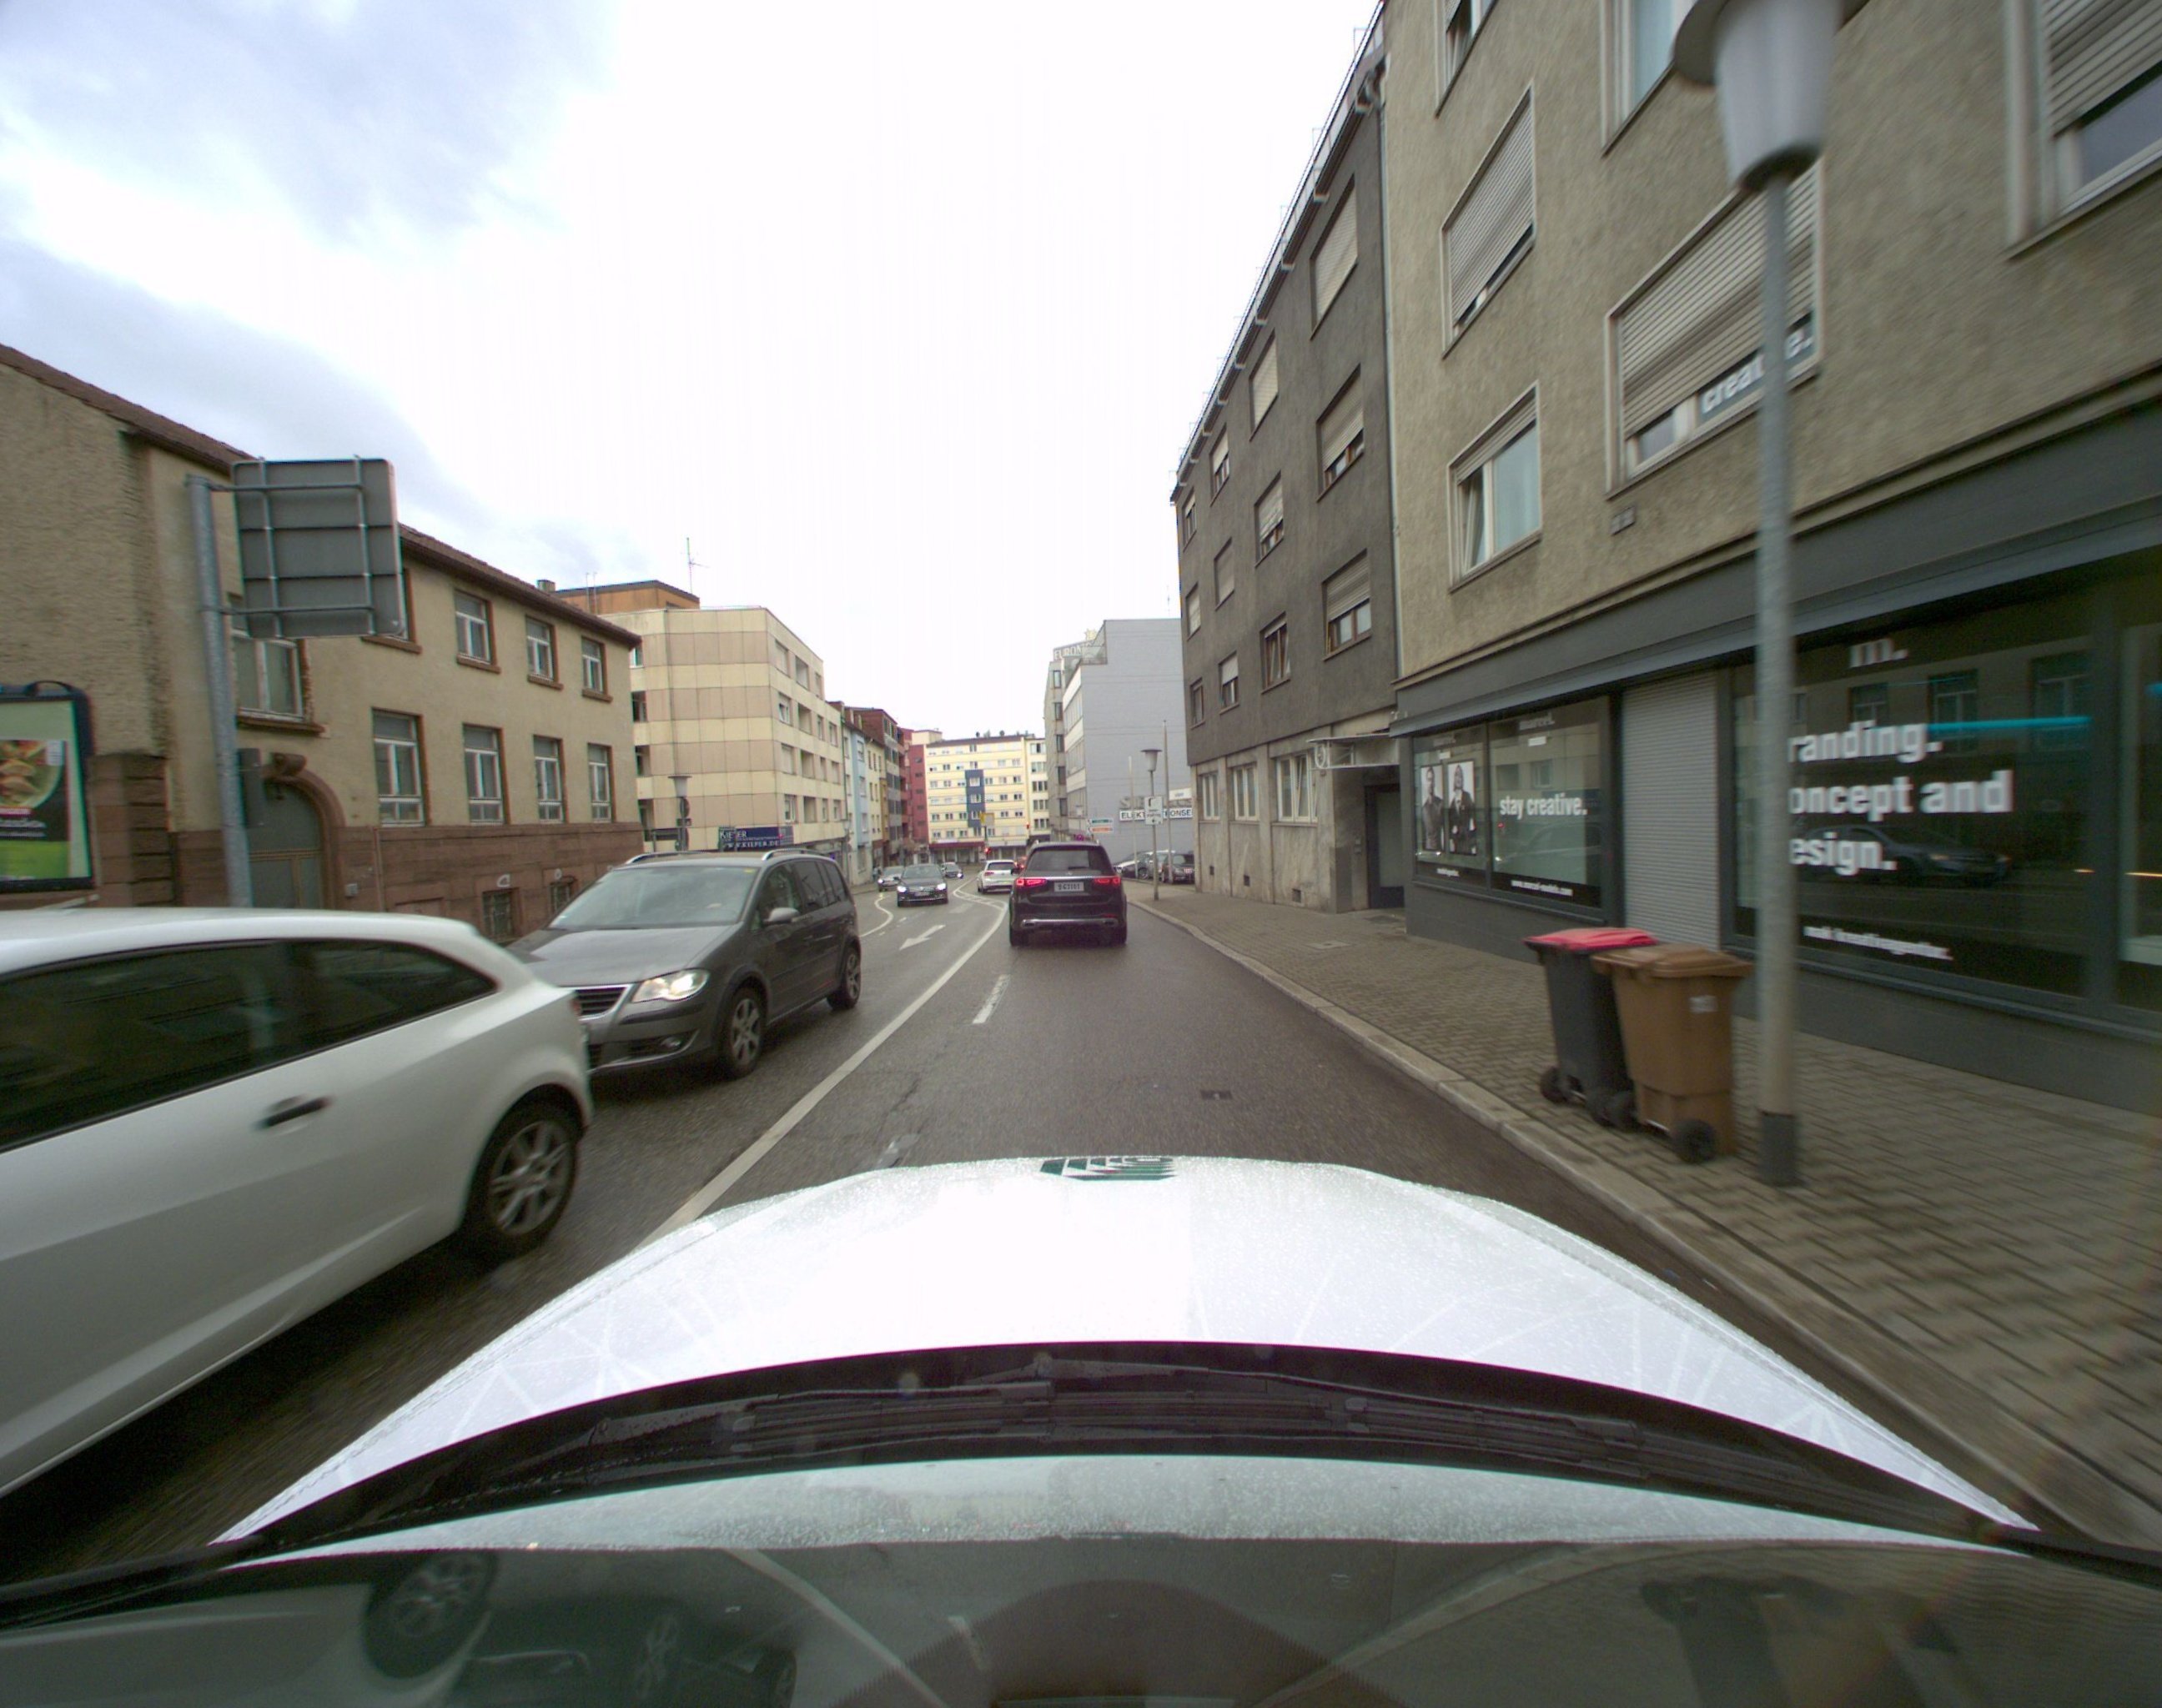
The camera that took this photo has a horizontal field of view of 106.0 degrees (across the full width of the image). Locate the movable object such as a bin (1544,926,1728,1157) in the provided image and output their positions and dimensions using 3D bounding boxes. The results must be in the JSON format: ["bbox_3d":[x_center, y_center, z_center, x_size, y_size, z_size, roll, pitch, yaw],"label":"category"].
[{"bbox_3d":[2.630,0.869,3.909,0.522,0.950,0.538,-2,4,3],"label":"movable object such as a bin"}]

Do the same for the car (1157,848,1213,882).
[{"bbox_3d":[4.893,0.507,38.940,1.793,1.477,4.479,-1,0,-4],"label":"car"}]

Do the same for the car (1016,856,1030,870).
[{"bbox_3d":[-6.638,1.018,93.438,1.519,1.548,3.103,-2,1,-3],"label":"car"}]

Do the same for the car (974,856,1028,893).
[{"bbox_3d":[-3.624,0.891,36.405,1.832,1.461,4.360,-3,0,-13],"label":"car"}]

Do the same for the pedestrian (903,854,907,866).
[{"bbox_3d":[-21.222,0.711,98.091,0.317,1.474,0.338,-2,4,-1],"label":"pedestrian"}]

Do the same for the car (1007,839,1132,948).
[{"bbox_3d":[-0.316,0.650,15.584,2.016,1.739,4.741,-1,0,-3],"label":"car"}]

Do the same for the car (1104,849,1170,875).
[{"bbox_3d":[3.702,0.506,53.715,4.006,1.597,1.784,-1,-2,-25],"label":"car"}]

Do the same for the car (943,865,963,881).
[{"bbox_3d":[-11.733,1.703,74.540,1.715,1.317,4.128,-3,0,-11],"label":"car"}]

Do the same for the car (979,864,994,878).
[{"bbox_3d":[-9.633,1.764,83.149,1.282,1.124,2.786,-2,4,-2],"label":"car"}]

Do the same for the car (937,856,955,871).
[{"bbox_3d":[-17.427,1.197,105.460,1.868,1.753,4.389,-5,0,-7],"label":"car"}]

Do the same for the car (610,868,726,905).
[{"bbox_3d":[-18.805,1.475,37.148,4.312,1.512,1.901,-1,-1,5],"label":"car"}]

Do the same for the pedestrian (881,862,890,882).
[{"bbox_3d":[-17.268,1.585,71.965,0.671,1.652,0.604,-2,4,-9],"label":"pedestrian"}]

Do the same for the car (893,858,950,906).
[{"bbox_3d":[-5.785,0.983,29.962,1.722,1.516,4.357,-4,-1,-8],"label":"car"}]

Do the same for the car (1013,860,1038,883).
[{"bbox_3d":[-4.002,1.220,58.118,1.521,1.548,3.099,-2,1,-8],"label":"car"}]

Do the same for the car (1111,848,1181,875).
[{"bbox_3d":[4.091,0.484,51.136,4.006,1.597,1.784,-1,-2,-25],"label":"car"}]

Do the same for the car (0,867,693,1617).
[{"bbox_3d":[-2.990,0.796,2.216,1.692,1.480,4.292,-1,-1,2],"label":"car"}]

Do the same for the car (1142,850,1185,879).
[{"bbox_3d":[4.475,0.529,44.458,1.563,1.477,4.062,-1,0,-5],"label":"car"}]

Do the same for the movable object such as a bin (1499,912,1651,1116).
[{"bbox_3d":[2.681,0.852,4.471,0.522,0.980,0.538,-2,4,3],"label":"movable object such as a bin"}]

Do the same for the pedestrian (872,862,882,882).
[{"bbox_3d":[-17.922,1.601,71.447,0.739,1.652,0.604,-2,4,-9],"label":"pedestrian"}]

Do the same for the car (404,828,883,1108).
[{"bbox_3d":[-3.259,0.724,7.317,1.801,1.705,4.561,-1,-1,0],"label":"car"}]

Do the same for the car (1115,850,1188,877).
[{"bbox_3d":[4.195,0.573,48.579,4.006,1.495,1.719,-1,-2,-25],"label":"car"}]

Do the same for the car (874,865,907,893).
[{"bbox_3d":[-12.331,1.617,52.863,1.715,1.586,4.130,-5,-1,-9],"label":"car"}]
